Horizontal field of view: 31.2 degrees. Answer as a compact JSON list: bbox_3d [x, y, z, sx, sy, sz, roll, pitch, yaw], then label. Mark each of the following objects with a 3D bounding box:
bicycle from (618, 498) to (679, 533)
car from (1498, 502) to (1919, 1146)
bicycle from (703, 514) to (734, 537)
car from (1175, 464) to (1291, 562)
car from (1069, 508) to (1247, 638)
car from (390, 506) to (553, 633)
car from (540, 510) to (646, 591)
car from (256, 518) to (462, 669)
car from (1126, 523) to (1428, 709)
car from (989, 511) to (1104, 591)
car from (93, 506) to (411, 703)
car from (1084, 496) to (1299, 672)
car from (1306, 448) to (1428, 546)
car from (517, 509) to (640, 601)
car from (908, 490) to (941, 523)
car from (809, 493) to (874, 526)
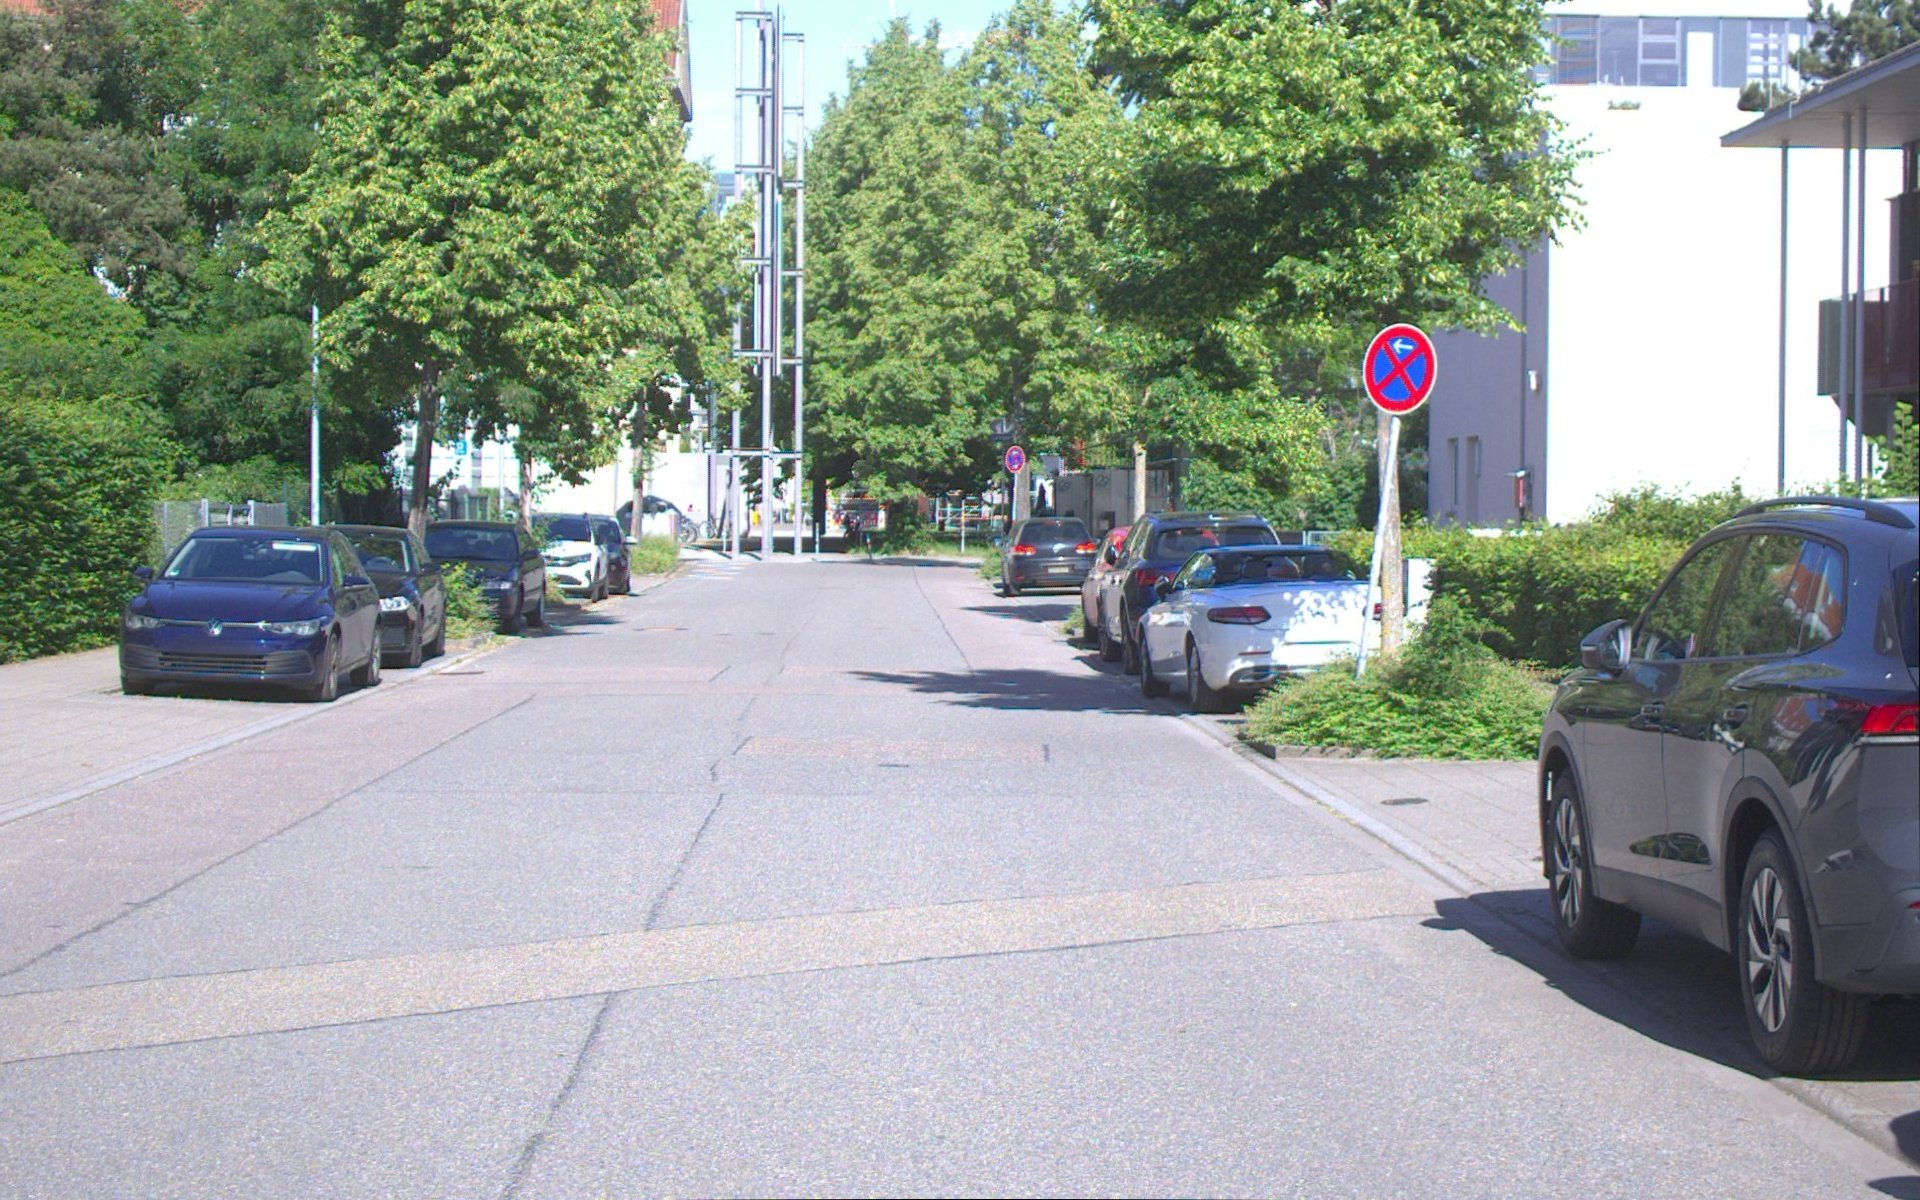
[{"bbox_3d":[-7.598,-2.060,83.913,1.467,0.839,0.336,1,2,-5],"label":"bicycle"},{"bbox_3d":[3.026,0.515,11.036,1.725,1.646,4.327,-1,1,-2],"label":"car"},{"bbox_3d":[-7.283,-2.257,103.684,0.373,0.681,1.080,-1,3,-38],"label":"bicycle"},{"bbox_3d":[5.727,-1.826,72.510,2.024,2.007,4.000,0,1,-1],"label":"car"},{"bbox_3d":[2.409,-0.352,42.702,1.834,1.510,3.881,1,1,-2],"label":"car"},{"bbox_3d":[-6.481,-0.433,45.960,1.694,1.599,3.942,1,1,-1],"label":"car"},{"bbox_3d":[-6.870,-0.946,64.686,1.700,1.465,3.461,0,1,-1],"label":"car"},{"bbox_3d":[-6.321,-0.099,36.457,1.630,1.496,3.578,1,1,-1],"label":"car"},{"bbox_3d":[2.636,0.105,29.541,1.829,1.417,4.234,-2,1,-5],"label":"car"},{"bbox_3d":[1.621,-0.958,65.885,1.993,1.481,4.000,0,1,-1],"label":"car"},{"bbox_3d":[-6.103,0.008,30.087,1.762,1.522,4.000,3,1,2],"label":"car"},{"bbox_3d":[2.401,-0.204,36.598,1.821,1.713,4.120,-2,1,-2],"label":"car"},{"bbox_3d":[8.562,-2.153,72.545,1.993,2.007,4.000,0,1,-1],"label":"car"},{"bbox_3d":[-6.535,-0.799,59.228,1.777,1.525,4.001,0,1,-2],"label":"car"},{"bbox_3d":[-2.247,-5.884,216.294,1.993,2.006,4.001,1,2,-1],"label":"car"},{"bbox_3d":[-7.414,-5.659,214.864,3.987,2.006,2.000,1,2,0],"label":"car"}]
